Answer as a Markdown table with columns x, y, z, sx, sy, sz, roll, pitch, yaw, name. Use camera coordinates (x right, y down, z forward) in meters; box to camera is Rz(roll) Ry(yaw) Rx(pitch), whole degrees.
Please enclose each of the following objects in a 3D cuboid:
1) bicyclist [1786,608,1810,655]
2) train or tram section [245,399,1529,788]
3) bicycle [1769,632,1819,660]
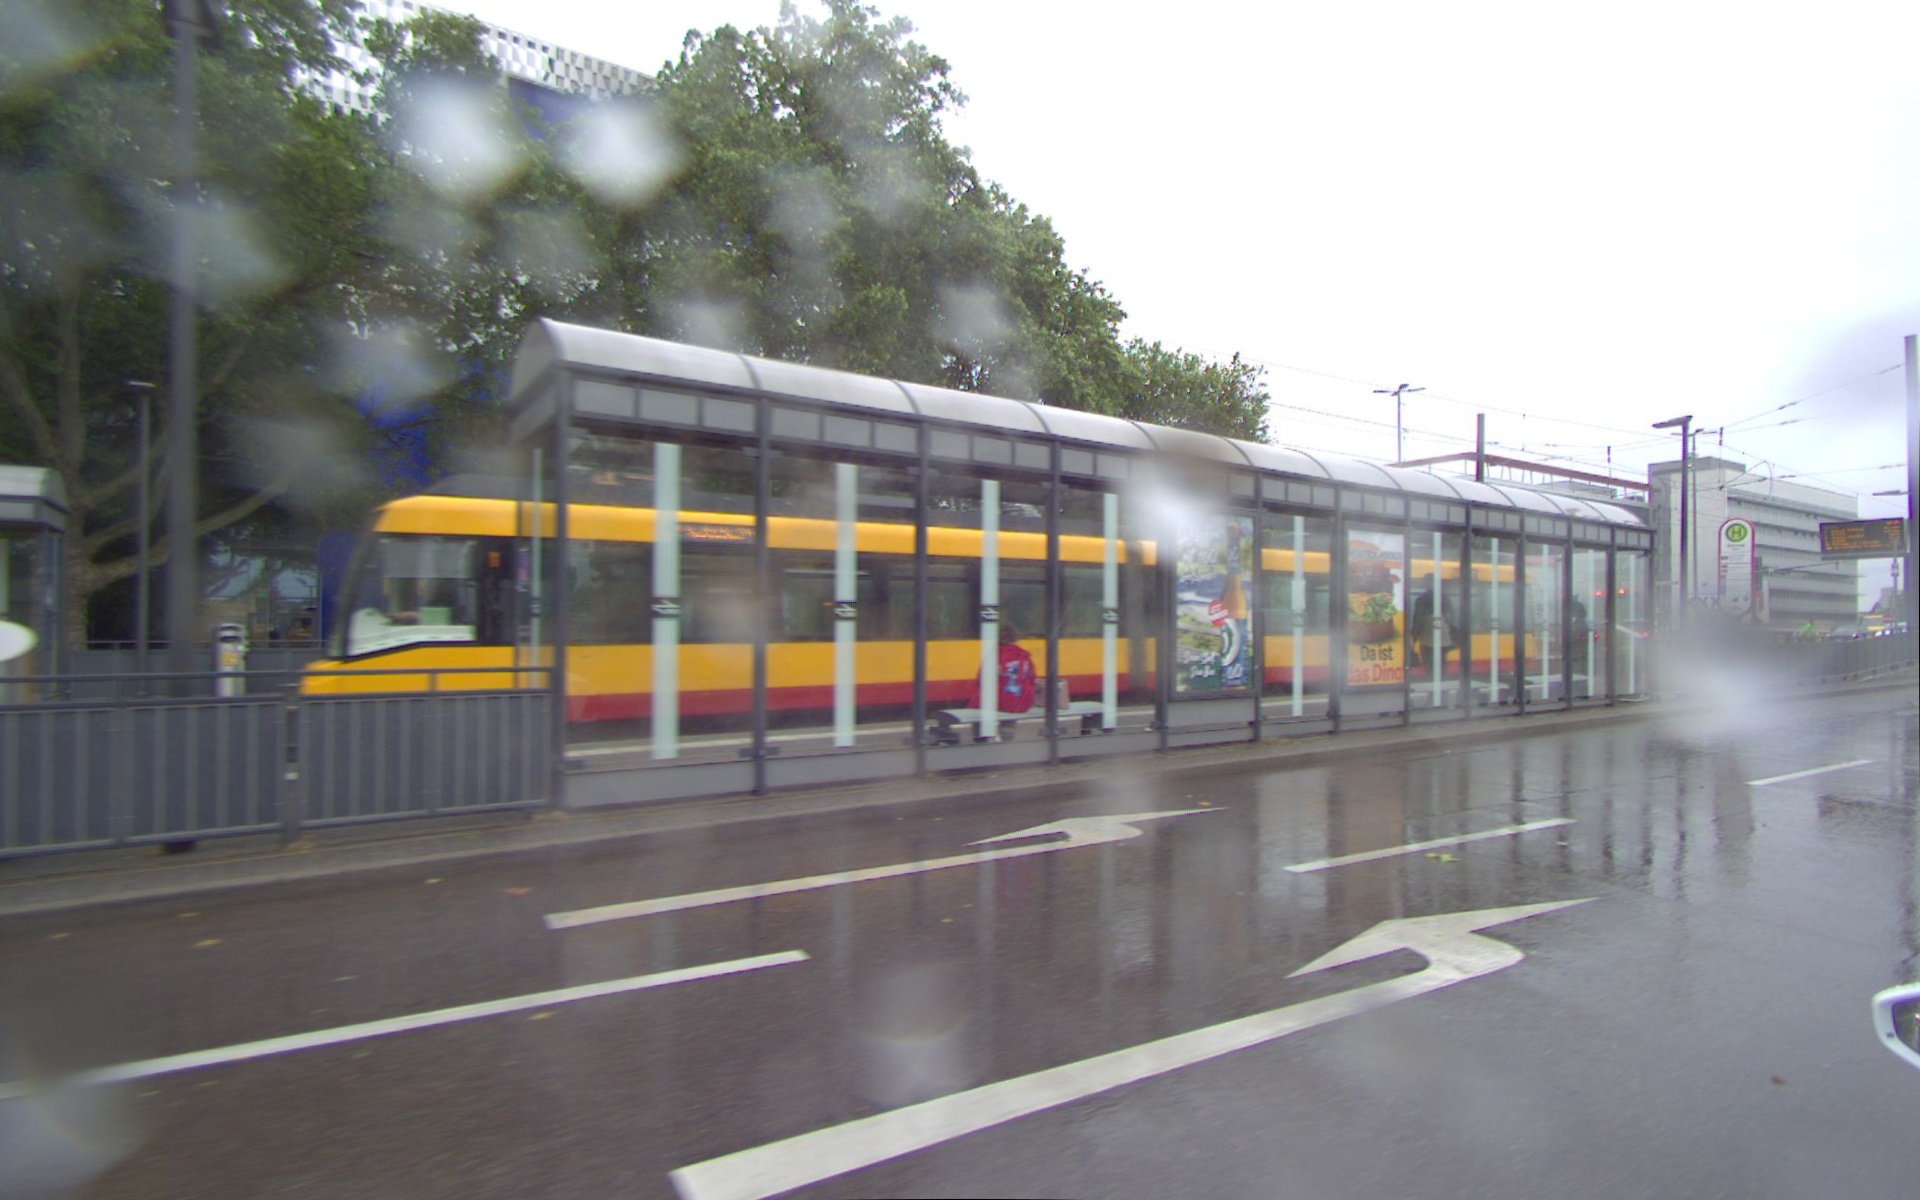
| x | y | z | sx | sy | sz | roll | pitch | yaw | name |
| --- | --- | --- | --- | --- | --- | --- | --- | --- | --- |
| 37.325 | 1.403 | 44.725 | 0.546 | 2.040 | 0.689 | 1 | 1 | -39 | bicyclist |
| 2.509 | 0.120 | 19.746 | 26.815 | 4.090 | 3.746 | 1 | 0 | -35 | train or tram section |
| 37.225 | 2.066 | 44.826 | 0.590 | 1.204 | 1.642 | 3 | -2 | -38 | bicycle |
